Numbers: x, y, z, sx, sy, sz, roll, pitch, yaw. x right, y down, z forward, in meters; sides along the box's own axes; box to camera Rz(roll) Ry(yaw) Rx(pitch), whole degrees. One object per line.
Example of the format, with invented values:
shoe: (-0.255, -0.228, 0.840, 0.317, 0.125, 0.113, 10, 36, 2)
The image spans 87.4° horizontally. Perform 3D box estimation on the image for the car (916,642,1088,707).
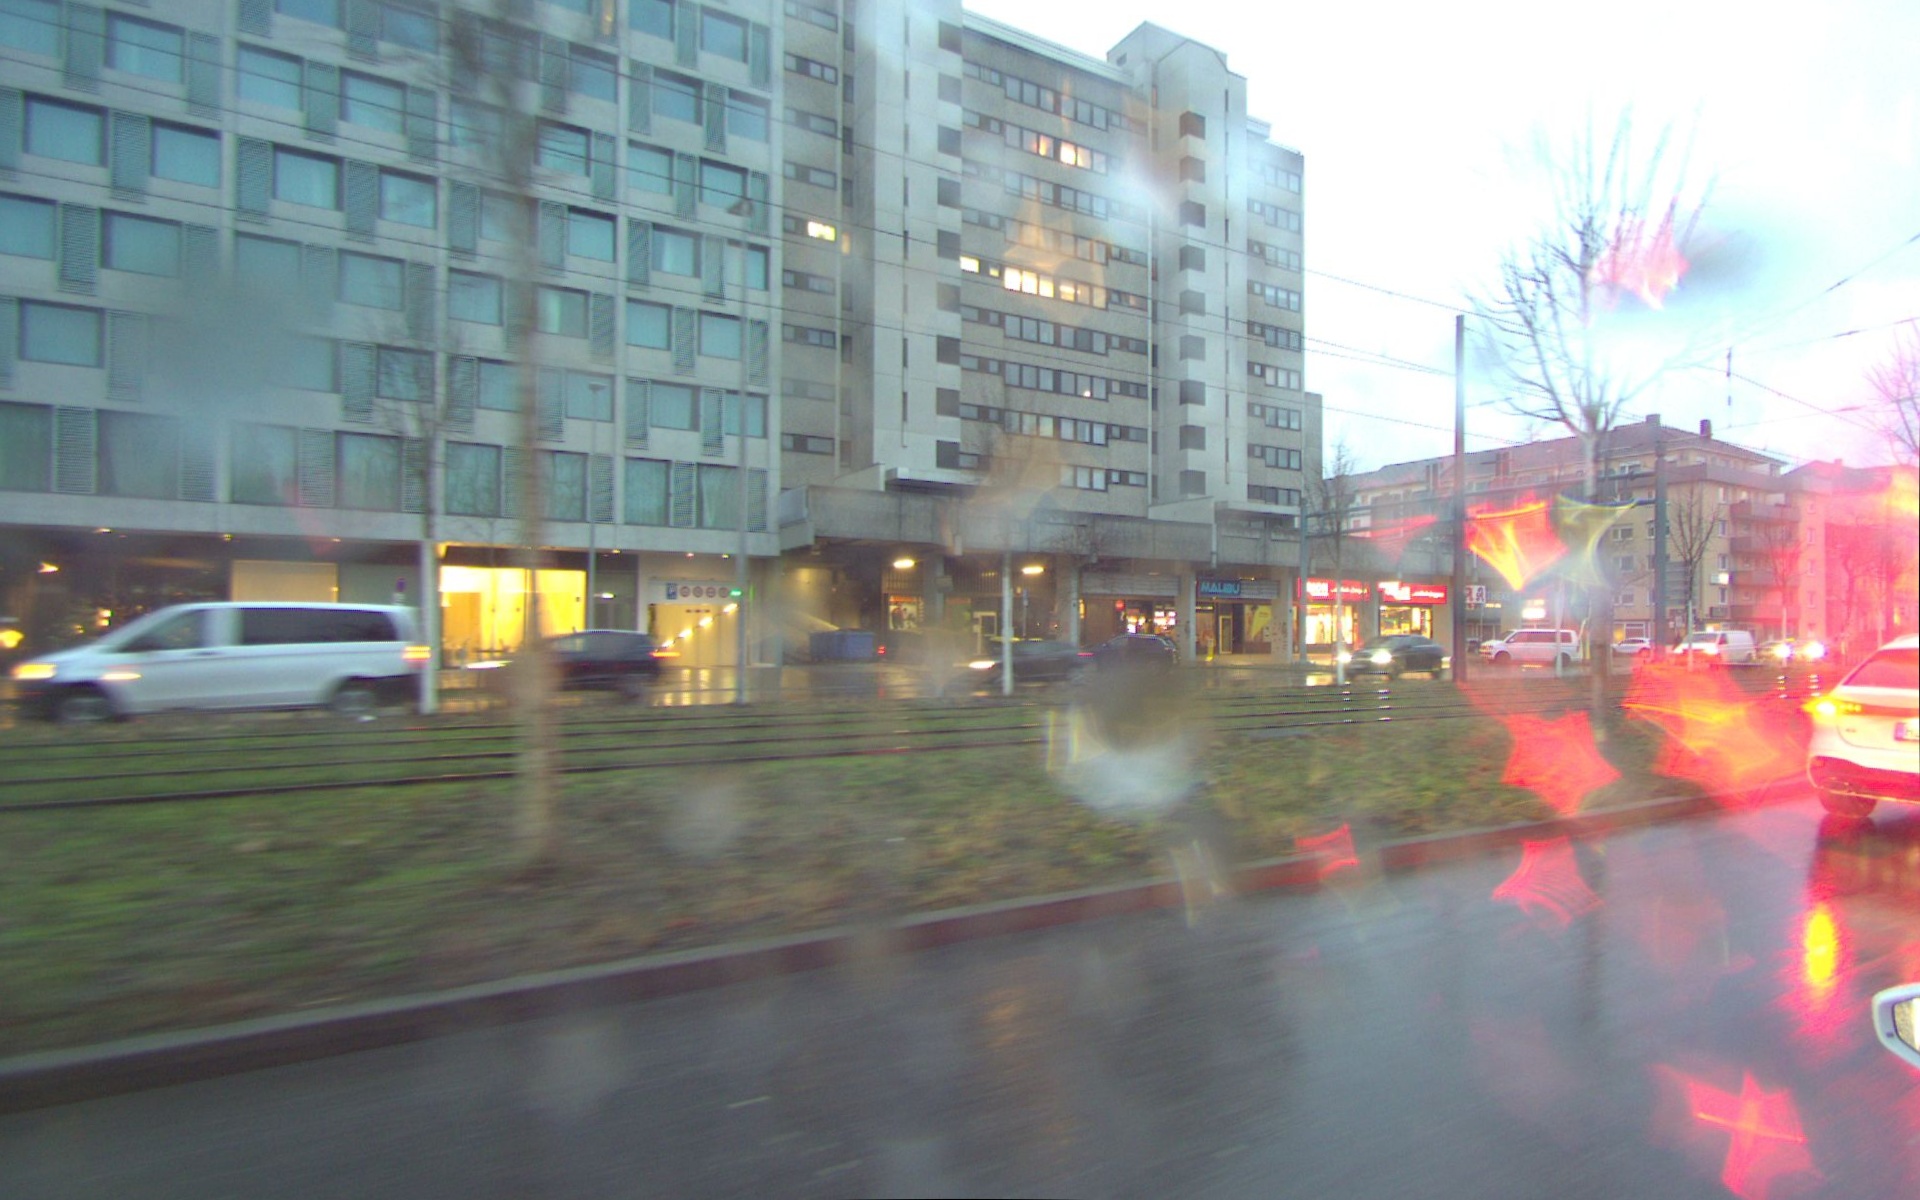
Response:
car: (1.279, 2.124, 29.641, 4.858, 1.741, 1.887, 1, -2, -30)

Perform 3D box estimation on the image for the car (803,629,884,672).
car: (-4.992, 2.095, 42.621, 1.709, 1.718, 4.336, 1, -2, -32)

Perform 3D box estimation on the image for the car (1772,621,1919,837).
car: (8.408, 0.930, 7.821, 4.562, 1.424, 1.836, 2, -1, -32)

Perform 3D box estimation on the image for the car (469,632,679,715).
car: (-9.243, 1.687, 24.158, 4.477, 1.837, 1.887, 1, -2, -30)

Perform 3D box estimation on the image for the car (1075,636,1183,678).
car: (6.904, 2.281, 40.980, 3.924, 1.405, 1.935, 2, 0, 25)

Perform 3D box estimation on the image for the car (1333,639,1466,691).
car: (15.673, 2.257, 35.772, 4.859, 1.741, 1.887, 1, -2, -31)

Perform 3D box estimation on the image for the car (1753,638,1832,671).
car: (44.514, 2.889, 53.714, 4.528, 1.655, 1.886, 1, -2, -31)

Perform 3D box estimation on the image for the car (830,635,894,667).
car: (-4.559, 2.332, 46.247, 1.580, 1.377, 3.411, 1, -2, -32)

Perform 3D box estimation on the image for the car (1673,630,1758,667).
car: (41.608, 2.656, 55.290, 5.104, 1.937, 1.984, 1, -2, -31)

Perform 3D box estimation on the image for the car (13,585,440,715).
car: (-10.971, 0.738, 15.581, 5.059, 1.741, 1.886, 1, -2, -31)

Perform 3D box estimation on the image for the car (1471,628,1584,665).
car: (31.238, 2.540, 55.427, 5.059, 1.937, 2.001, 0, -2, 15)
